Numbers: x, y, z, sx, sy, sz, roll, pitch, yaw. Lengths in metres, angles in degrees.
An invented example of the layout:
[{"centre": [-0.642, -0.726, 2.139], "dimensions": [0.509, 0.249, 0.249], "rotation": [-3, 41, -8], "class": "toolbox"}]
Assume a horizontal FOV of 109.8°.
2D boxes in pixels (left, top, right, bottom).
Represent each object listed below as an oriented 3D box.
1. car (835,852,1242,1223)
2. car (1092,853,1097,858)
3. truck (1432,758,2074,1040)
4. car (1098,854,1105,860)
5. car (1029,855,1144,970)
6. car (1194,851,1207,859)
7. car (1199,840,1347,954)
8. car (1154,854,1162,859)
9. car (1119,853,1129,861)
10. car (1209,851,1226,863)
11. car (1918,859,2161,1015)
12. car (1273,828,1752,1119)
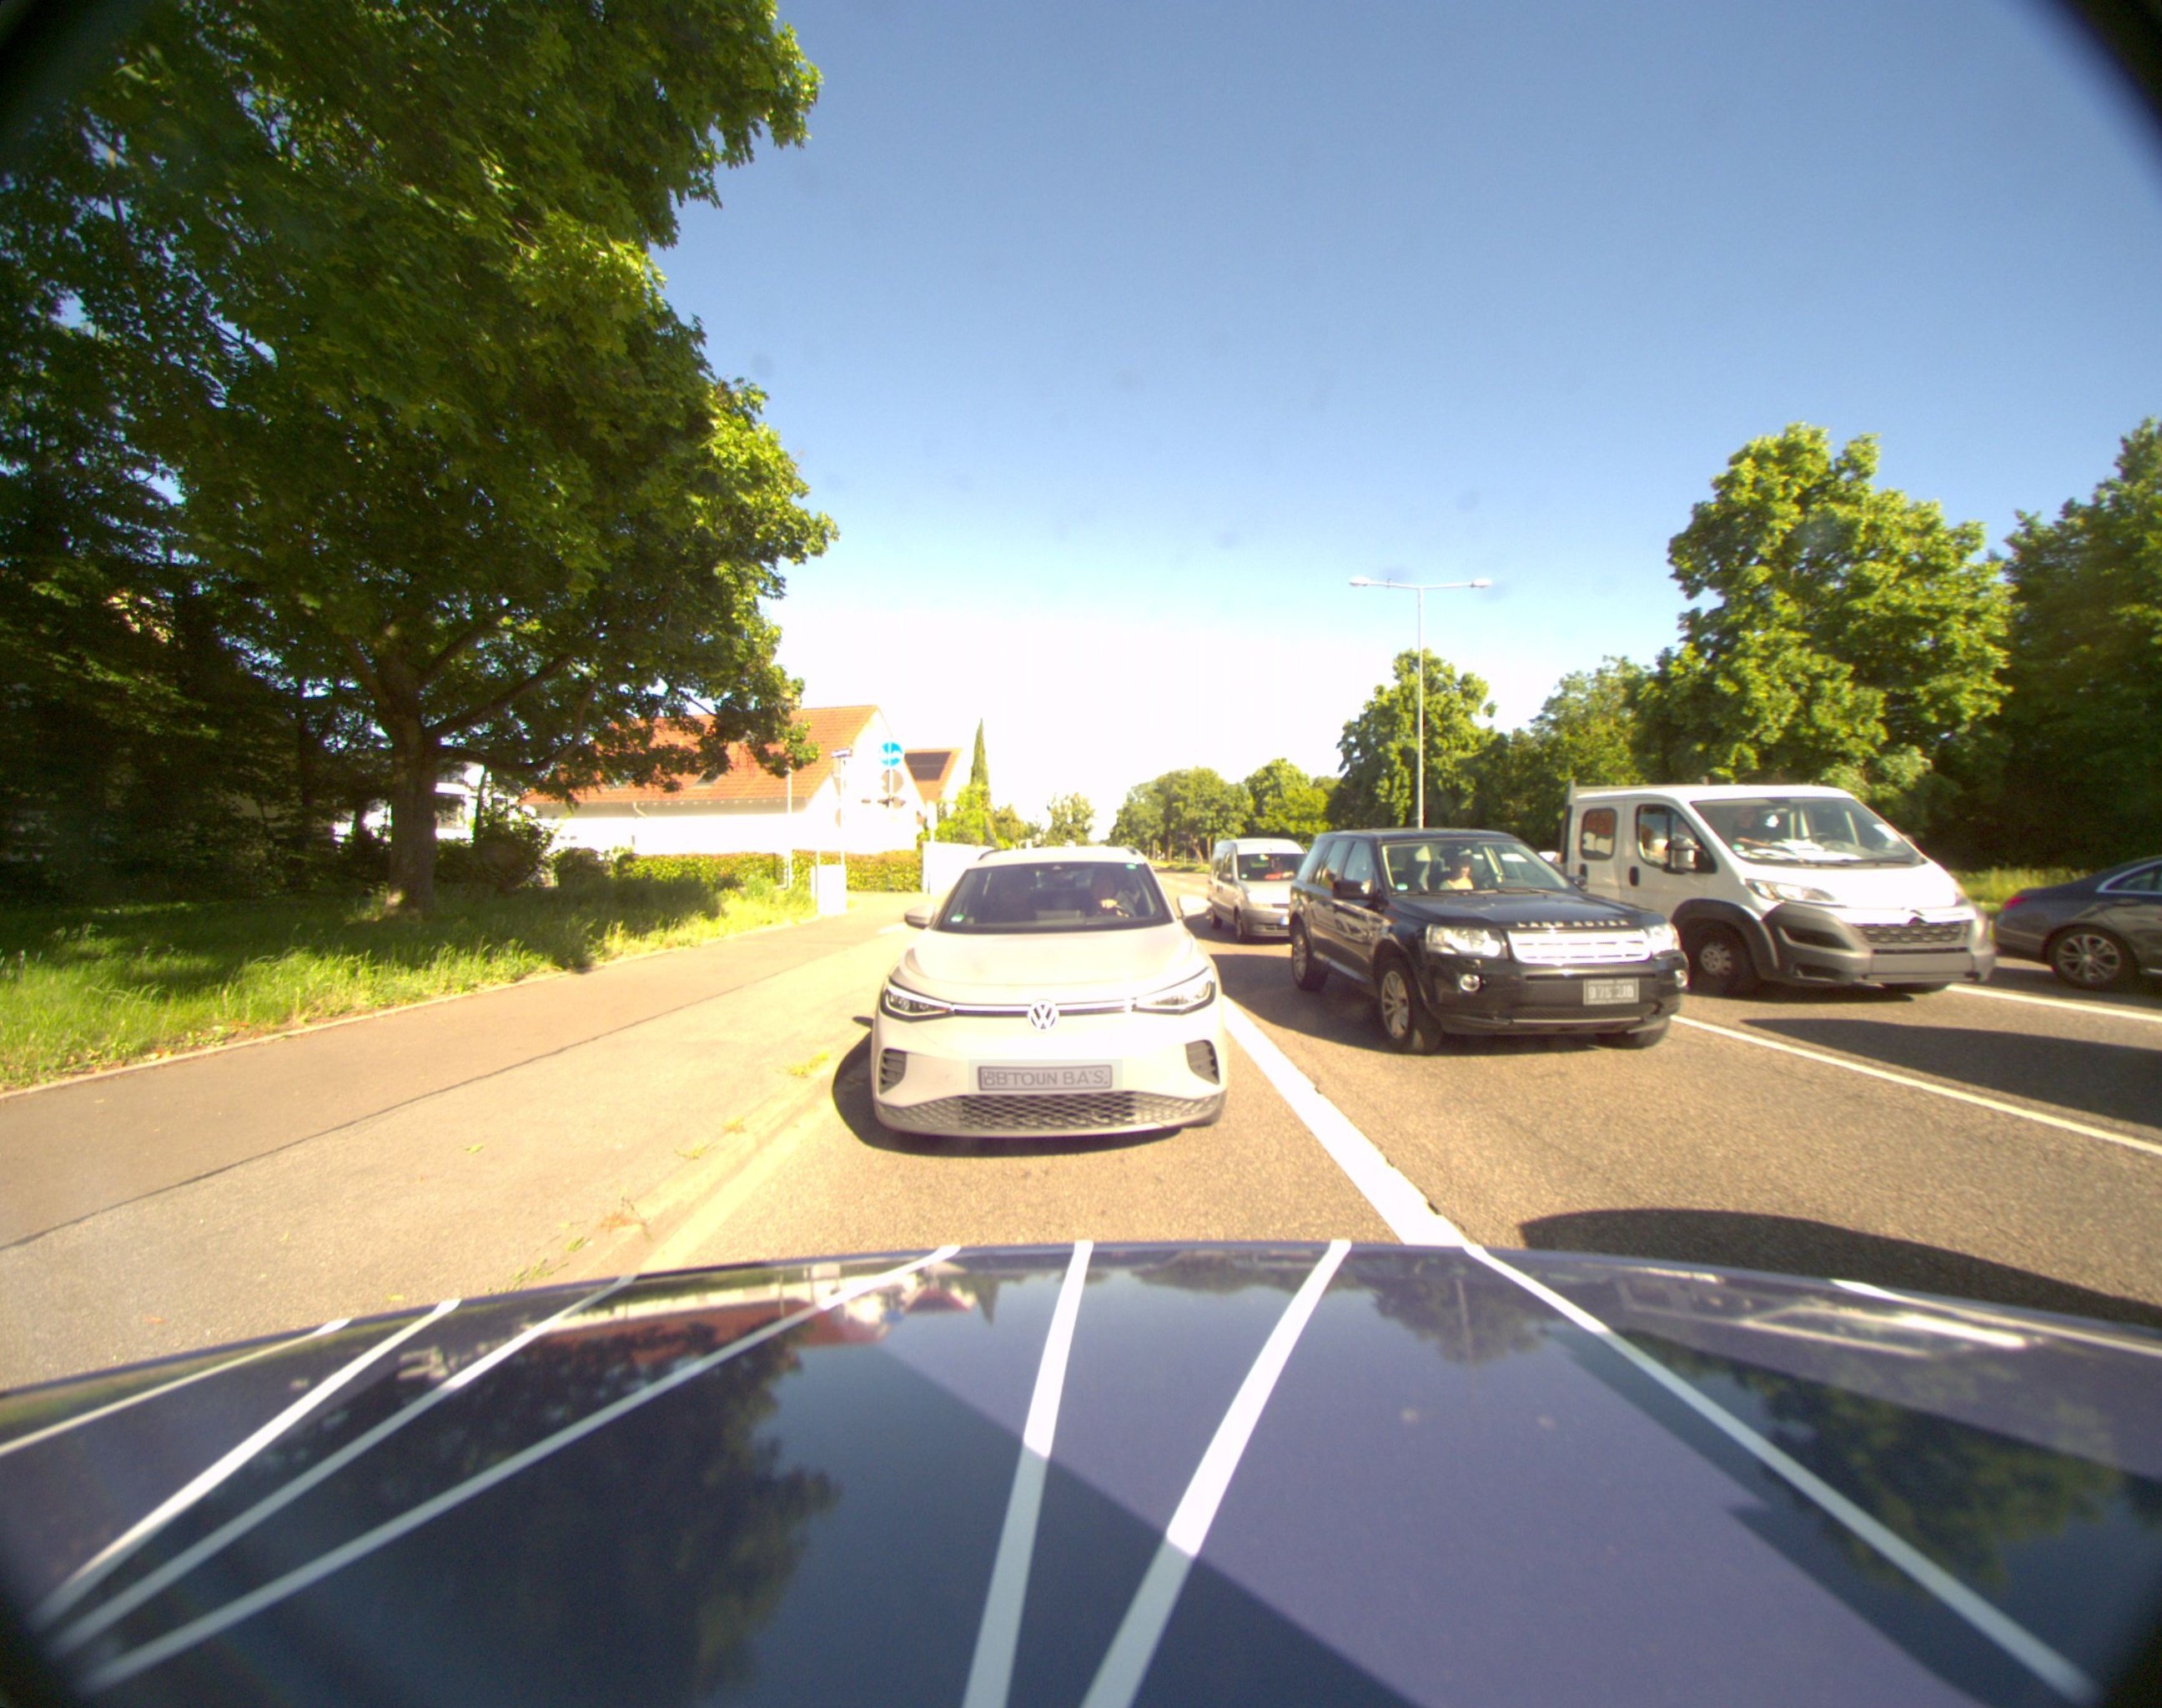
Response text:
[{"centre": [-0.170, 0.839, 5.591], "dimensions": [1.858, 1.679, 4.206], "rotation": [0, 1, 1], "class": "car"}, {"centre": [4.326, 0.533, 241.501], "dimensions": [1.726, 1.630, 4.000], "rotation": [0, 0, 1], "class": "car"}, {"centre": [7.214, 0.339, 9.776], "dimensions": [2.185, 2.307, 6.842], "rotation": [-2, 1, 0], "class": "truck"}, {"centre": [4.956, 0.690, 186.271], "dimensions": [1.704, 1.466, 3.931], "rotation": [0, 0, 1], "class": "car"}, {"centre": [0.108, 0.855, 13.034], "dimensions": [1.632, 1.586, 4.024], "rotation": [-2, 1, 1], "class": "car"}, {"centre": [20.468, 0.211, 130.230], "dimensions": [1.792, 1.409, 4.000], "rotation": [0, 0, 1], "class": "car"}, {"centre": [3.324, 0.642, 13.981], "dimensions": [1.632, 1.741, 4.386], "rotation": [-2, 1, 1], "class": "car"}, {"centre": [20.882, 0.660, 204.868], "dimensions": [1.792, 1.409, 4.000], "rotation": [0, 0, 1], "class": "car"}, {"centre": [8.228, 0.535, 145.749], "dimensions": [1.704, 1.466, 3.931], "rotation": [-1, 0, 0], "class": "car"}, {"centre": [20.047, 0.473, 111.603], "dimensions": [1.792, 1.674, 4.000], "rotation": [0, 0, 1], "class": "car"}, {"centre": [10.759, 0.789, 6.723], "dimensions": [1.816, 1.382, 4.385], "rotation": [1, 1, -1], "class": "car"}, {"centre": [3.166, 0.704, 6.786], "dimensions": [1.816, 1.721, 4.386], "rotation": [-2, 1, 1], "class": "car"}]
